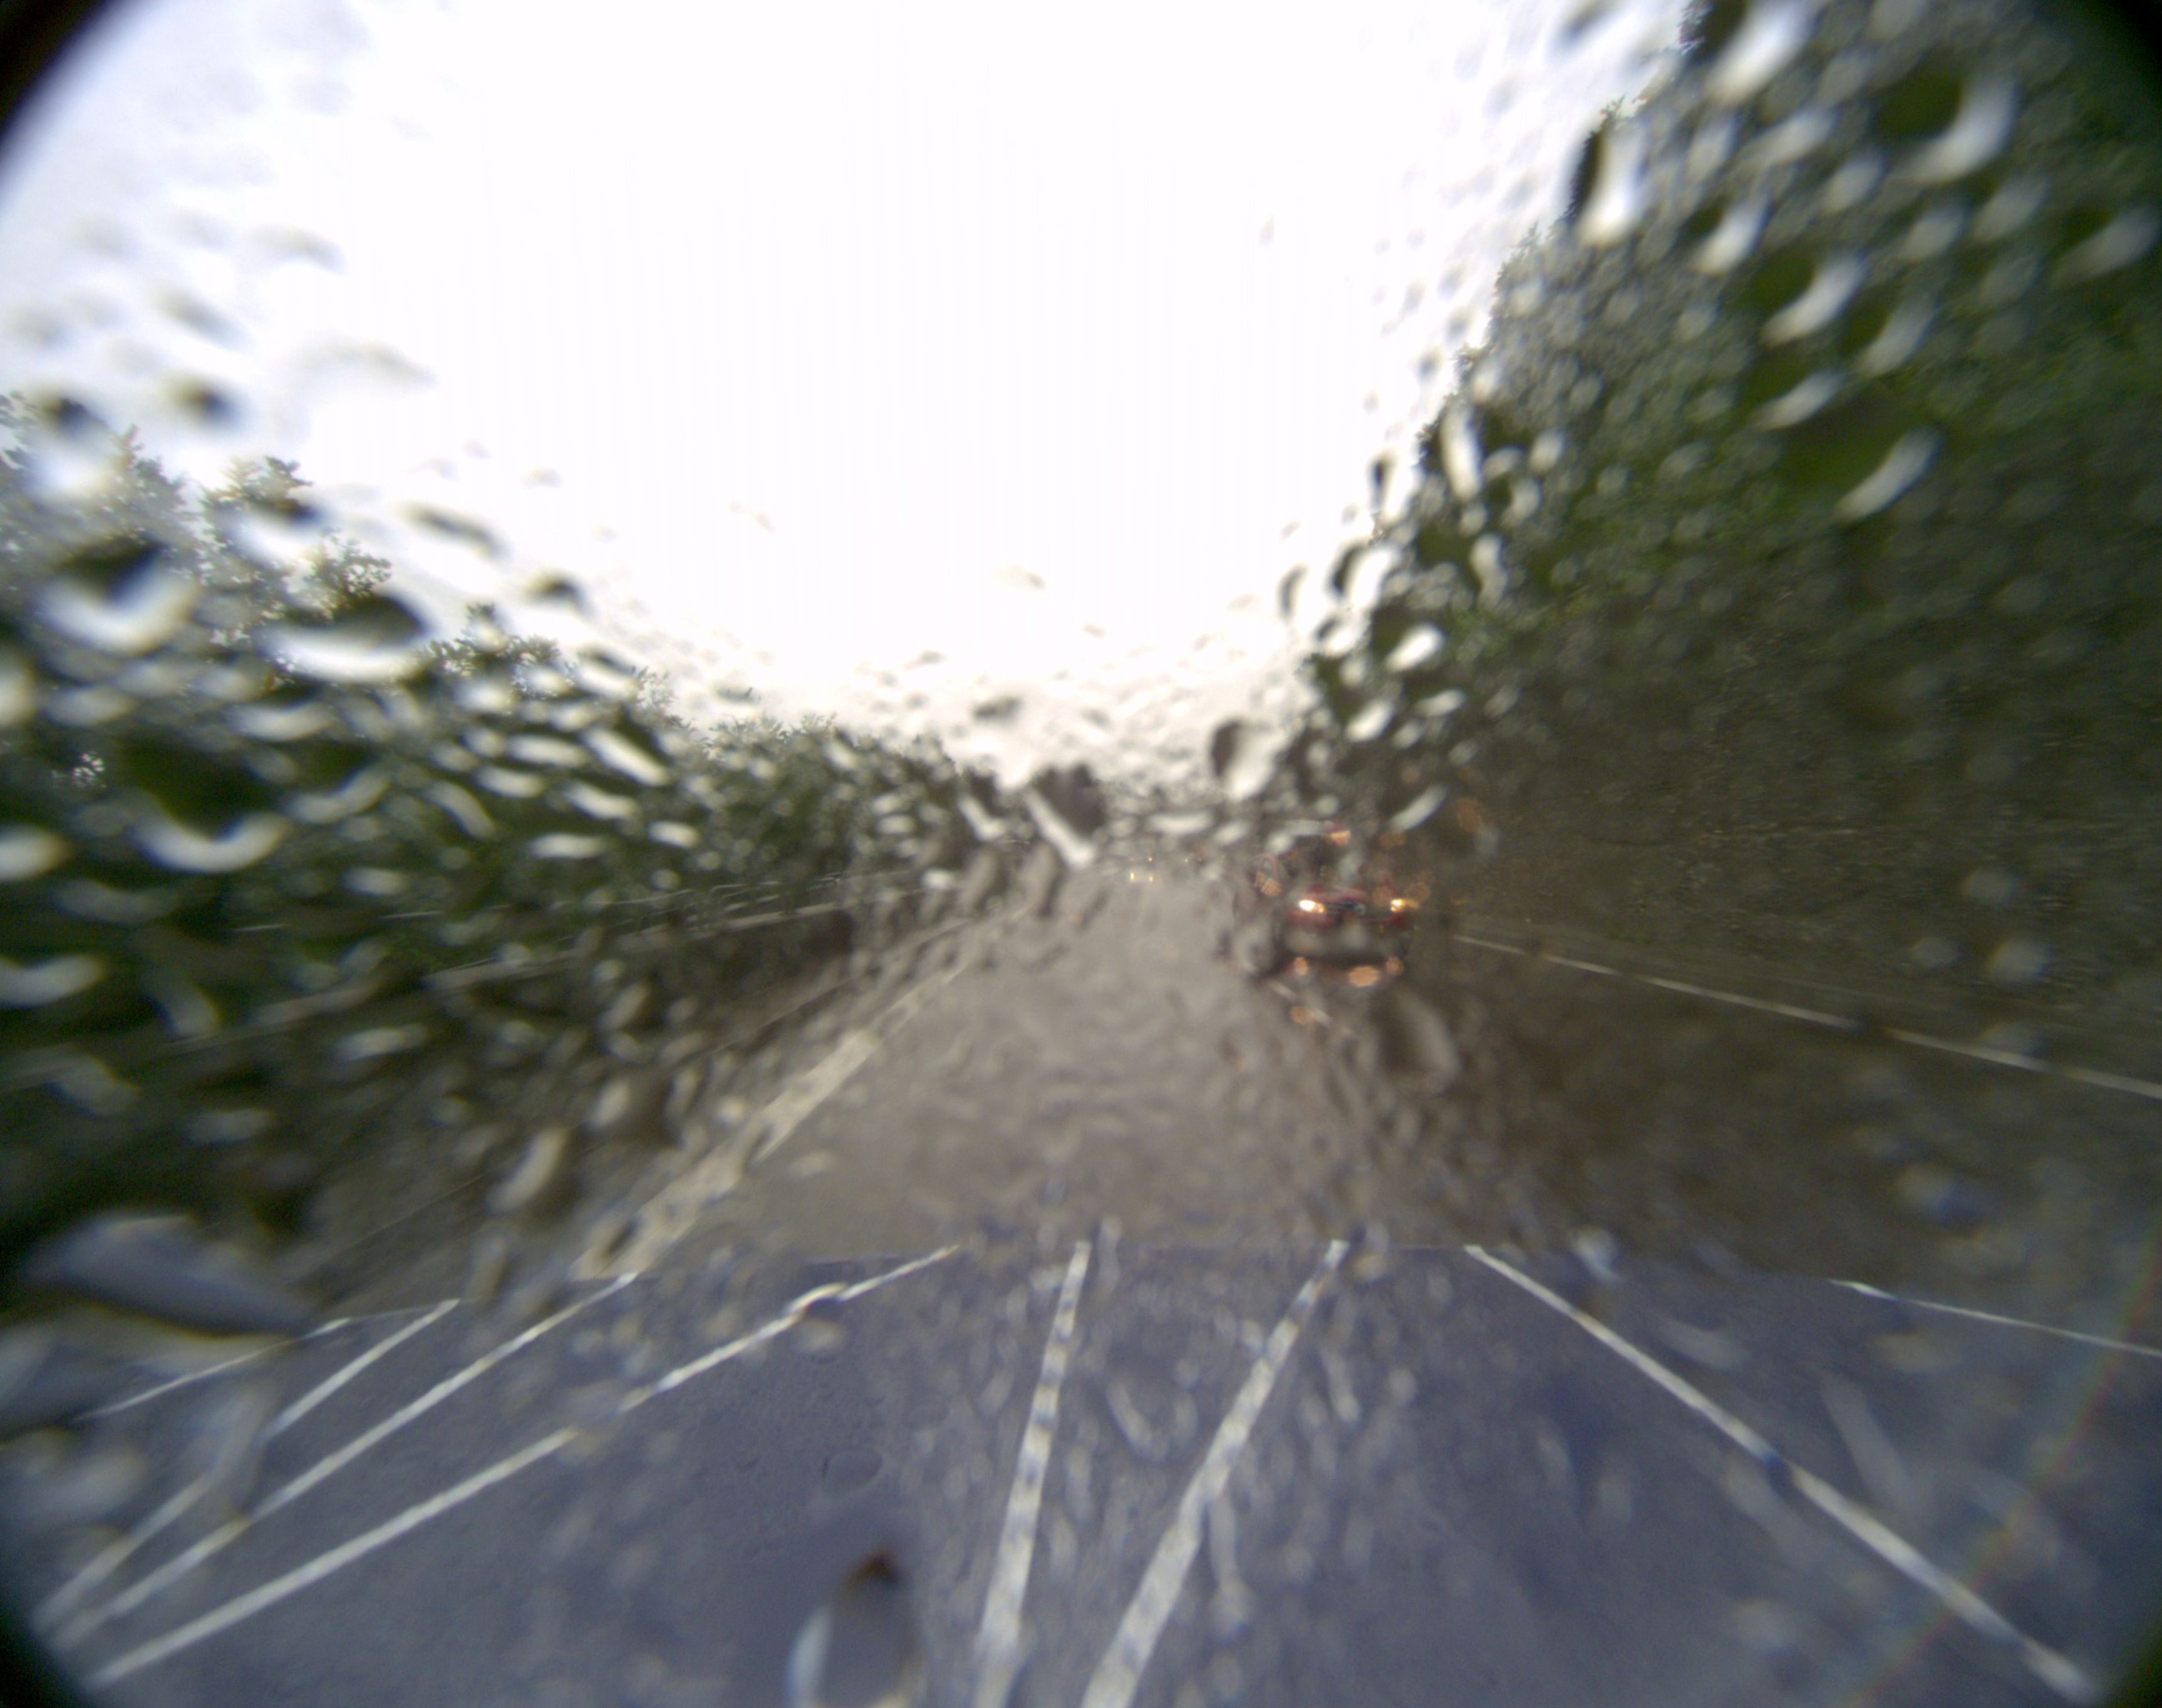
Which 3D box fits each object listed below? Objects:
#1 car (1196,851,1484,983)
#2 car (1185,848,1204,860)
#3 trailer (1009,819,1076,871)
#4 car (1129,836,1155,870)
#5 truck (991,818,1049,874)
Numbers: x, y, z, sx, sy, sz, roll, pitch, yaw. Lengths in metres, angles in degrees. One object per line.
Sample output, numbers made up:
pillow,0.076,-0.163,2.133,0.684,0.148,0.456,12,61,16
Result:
car,3.580,0.777,11.973,2.360,1.549,5.497,-1,0,-4
car,13.833,0.002,92.351,1.740,1.393,4.004,-2,0,16
trailer,-3.171,-0.846,69.327,2.897,4.221,14.706,0,1,10
car,5.638,-0.112,69.493,1.740,3.008,4.003,0,2,13
truck,-4.733,-0.683,60.556,2.901,4.221,6.885,0,1,10
